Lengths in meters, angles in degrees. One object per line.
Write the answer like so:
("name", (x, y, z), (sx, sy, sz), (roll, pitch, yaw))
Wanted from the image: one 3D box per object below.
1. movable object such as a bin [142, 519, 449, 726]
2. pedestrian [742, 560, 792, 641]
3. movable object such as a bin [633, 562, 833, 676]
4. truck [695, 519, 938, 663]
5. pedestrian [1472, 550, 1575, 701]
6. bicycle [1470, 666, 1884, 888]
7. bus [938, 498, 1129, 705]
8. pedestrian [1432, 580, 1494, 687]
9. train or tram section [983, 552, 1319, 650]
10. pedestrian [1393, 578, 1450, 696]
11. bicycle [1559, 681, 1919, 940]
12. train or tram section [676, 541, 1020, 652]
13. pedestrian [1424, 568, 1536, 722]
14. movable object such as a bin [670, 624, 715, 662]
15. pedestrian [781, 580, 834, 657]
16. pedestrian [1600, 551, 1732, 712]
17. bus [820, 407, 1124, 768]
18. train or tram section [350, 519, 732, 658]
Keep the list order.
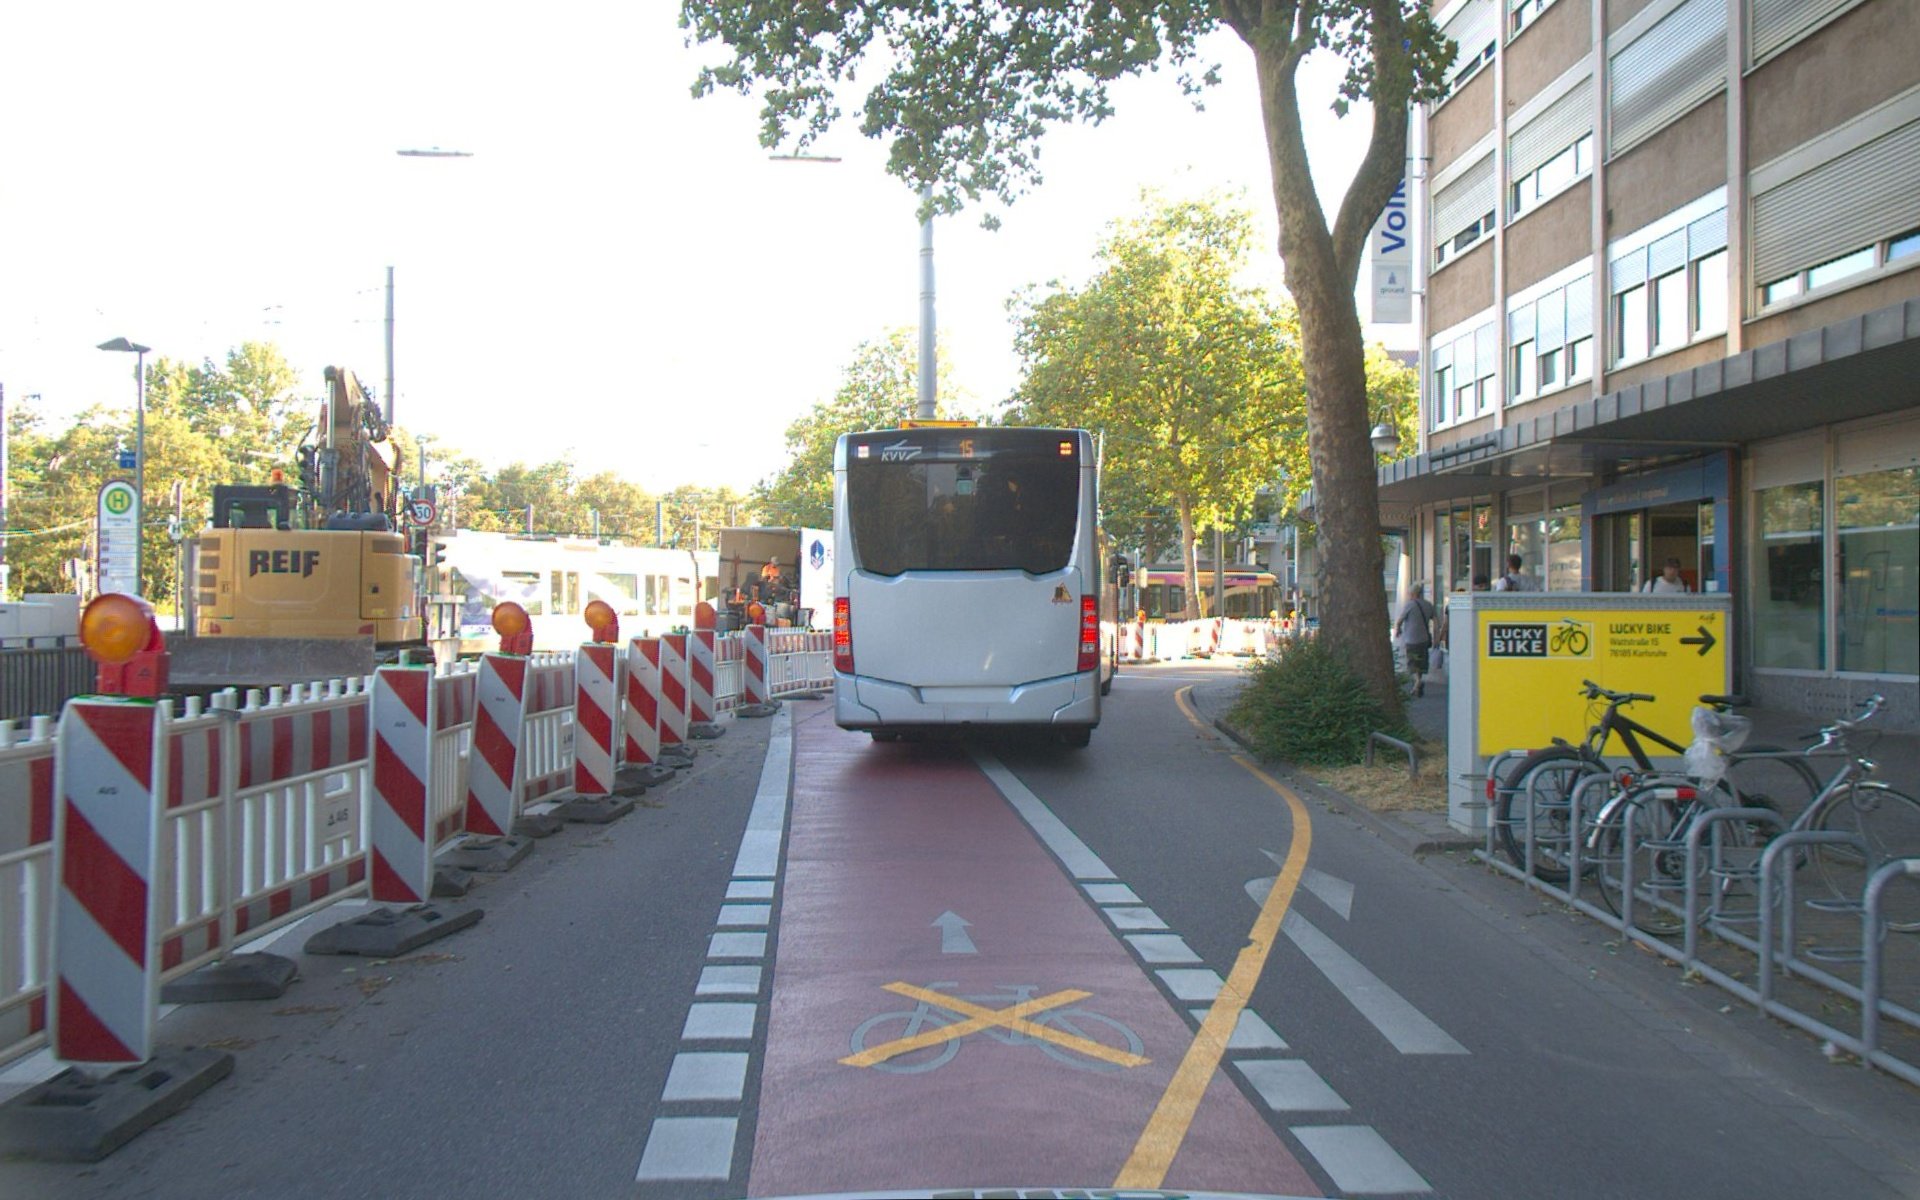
("movable object such as a bin", (-8.371, 0.268, 21.442), (2.594, 2.358, 4.892), (1, 0, -9))
("pedestrian", (-4.982, -0.007, 42.647), (0.917, 2.049, 1.001), (0, 1, 22))
("movable object such as a bin", (-4.907, 0.392, 36.687), (1.953, 2.296, 5.206), (2, 0, 23))
("truck", (-3.739, -0.221, 46.018), (2.755, 3.603, 8.979), (0, 0, 24))
("pedestrian", (7.469, 0.330, 21.952), (0.821, 1.902, 1.099), (-4, 0, -3))
("bicycle", (3.910, 0.940, 9.098), (1.948, 1.077, 0.770), (-1, -1, -6))
("bus", (1.574, 0.040, 29.853), (2.651, 3.161, 8.986), (0, 0, 8))
("pedestrian", (7.712, 0.501, 25.387), (0.620, 1.601, 0.774), (-2, 0, -3))
("train or tram section", (7.486, 0.099, 64.134), (13.083, 3.581, 2.635), (1, -1, -18))
("pedestrian", (7.036, 0.555, 25.248), (0.571, 1.738, 0.679), (-3, 0, -3))
("bicycle", (3.747, 0.951, 7.685), (1.679, 1.077, 0.644), (-1, 0, -2))
("train or tram section", (-3.699, -0.012, 58.517), (12.636, 3.611, 2.704), (1, -1, -35))
("pedestrian", (6.200, 0.522, 19.773), (0.881, 1.740, 1.070), (-3, 0, -3))
("movable object such as a bin", (-6.596, 1.054, 40.843), (0.913, 0.933, 1.419), (0, -1, -1))
("pedestrian", (-3.646, 0.439, 39.630), (0.952, 1.829, 1.070), (0, 0, 14))
("pedestrian", (8.053, 0.349, 18.912), (0.881, 1.726, 1.070), (-5, 0, -3))
("bus", (0.490, -0.117, 20.121), (2.676, 3.194, 10.708), (1, 0, 4))
("train or tram section", (-11.874, -0.179, 49.283), (2.795, 3.595, 13.376), (0, -1, 28))
